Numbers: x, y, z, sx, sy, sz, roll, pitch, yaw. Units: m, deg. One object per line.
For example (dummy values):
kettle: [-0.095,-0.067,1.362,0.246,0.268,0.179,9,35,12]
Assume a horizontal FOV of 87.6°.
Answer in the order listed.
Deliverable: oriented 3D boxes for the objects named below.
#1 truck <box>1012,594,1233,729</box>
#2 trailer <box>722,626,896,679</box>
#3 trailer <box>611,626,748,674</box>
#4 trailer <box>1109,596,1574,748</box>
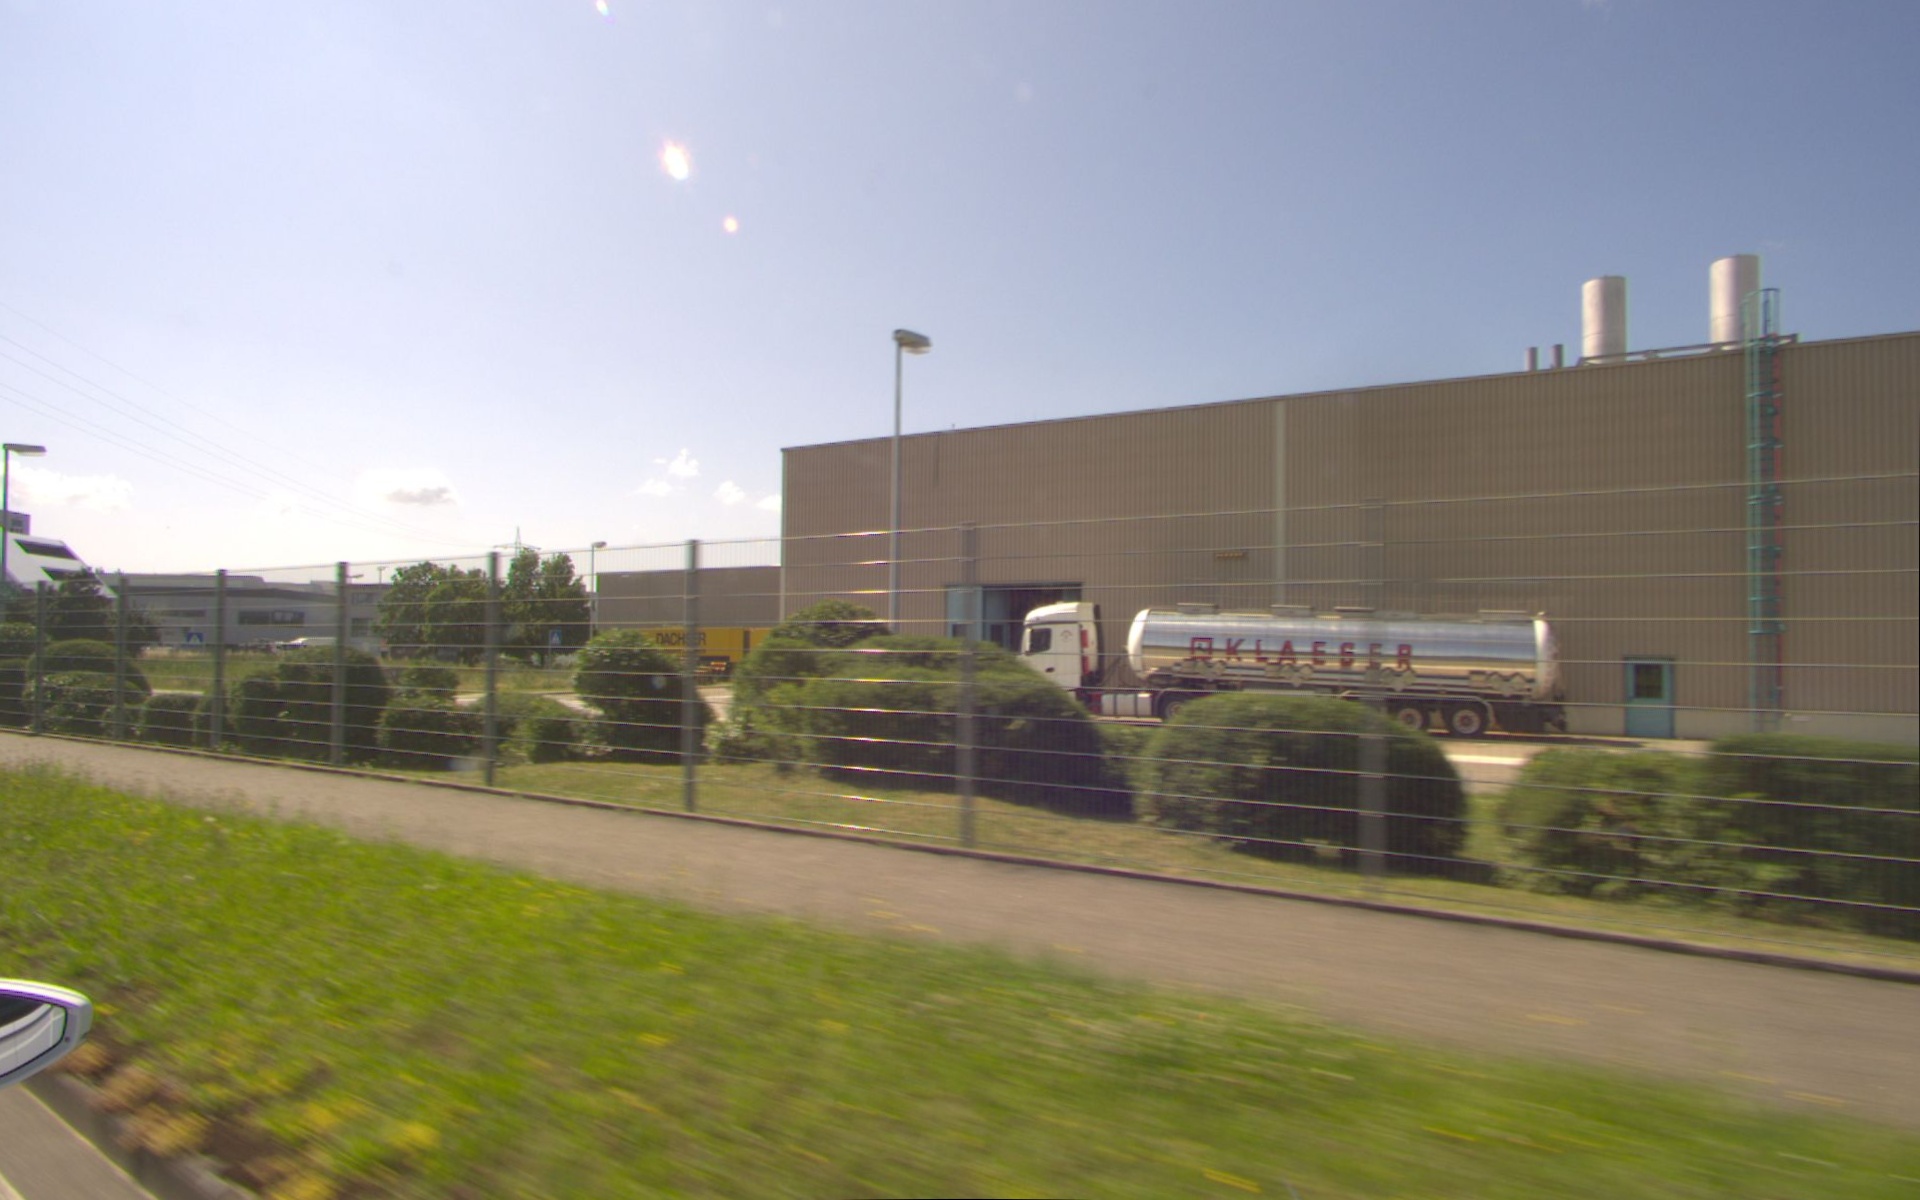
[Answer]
truck: [5.232,1.862,31.957,6.301,3.917,3.597,0,-1,24]
trailer: [-12.128,4.095,79.261,14.828,3.889,2.935,-1,-3,29]
trailer: [-24.101,4.225,85.698,12.552,3.812,2.918,0,-3,27]
trailer: [10.693,1.894,29.286,12.040,3.783,3.591,0,-2,26]
